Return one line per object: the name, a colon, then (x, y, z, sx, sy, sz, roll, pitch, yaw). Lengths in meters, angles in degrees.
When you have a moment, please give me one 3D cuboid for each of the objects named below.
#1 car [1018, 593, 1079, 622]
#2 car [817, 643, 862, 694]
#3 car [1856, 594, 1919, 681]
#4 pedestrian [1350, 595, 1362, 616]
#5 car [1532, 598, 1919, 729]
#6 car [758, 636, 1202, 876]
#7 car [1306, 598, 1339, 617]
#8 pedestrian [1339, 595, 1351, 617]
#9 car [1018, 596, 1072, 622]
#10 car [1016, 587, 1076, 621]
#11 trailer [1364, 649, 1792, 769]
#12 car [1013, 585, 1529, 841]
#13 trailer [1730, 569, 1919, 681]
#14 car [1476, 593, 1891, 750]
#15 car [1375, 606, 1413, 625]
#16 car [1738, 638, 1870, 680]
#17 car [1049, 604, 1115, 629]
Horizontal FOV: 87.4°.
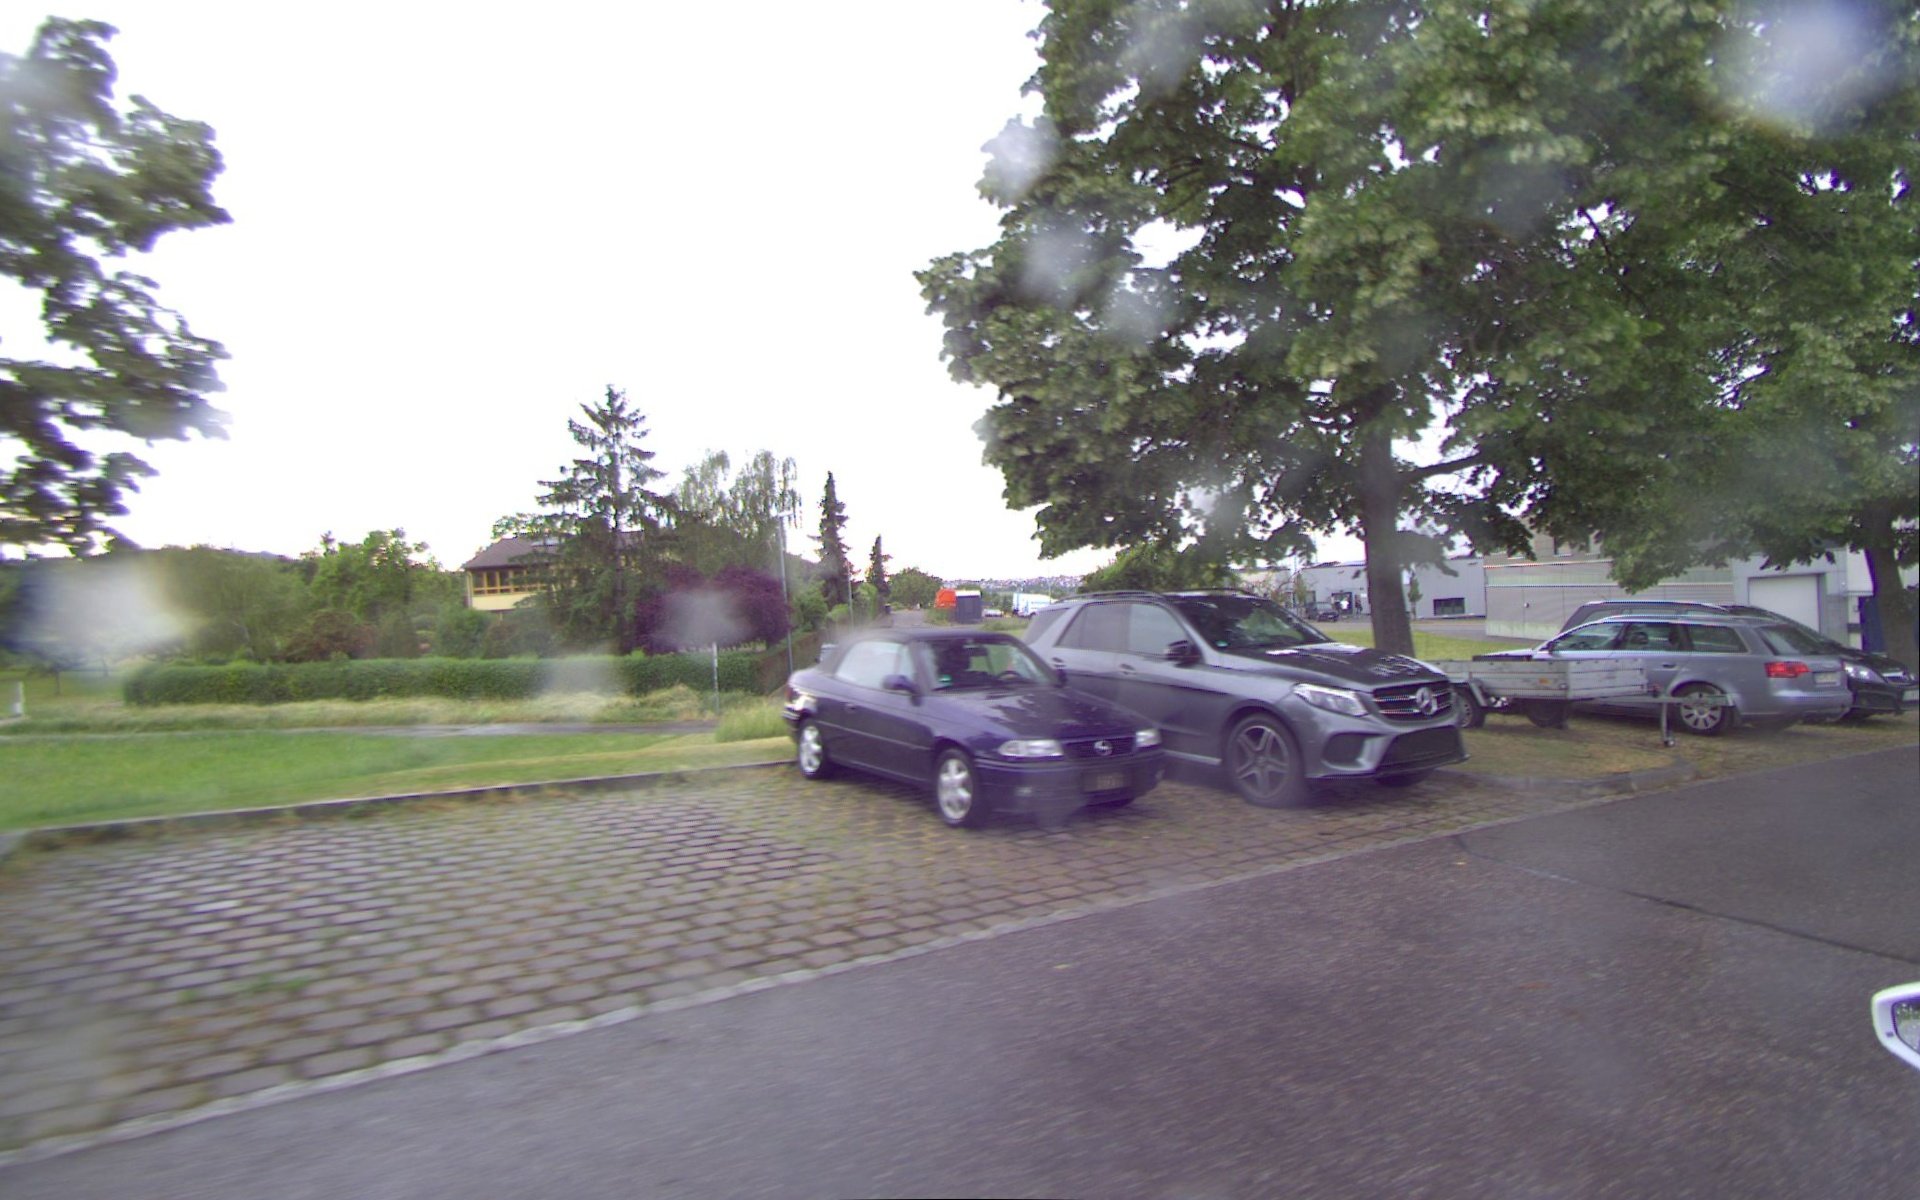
car: (8.716, 0.727, 98.935, 5.702, 2.738, 1.998, -1, 0, -6)
car: (-5.675, 3.233, 47.825, 1.893, 2.249, 4.501, -2, -3, -5)
car: (20.670, 0.723, 19.781, 1.734, 1.744, 4.178, 0, -2, -29)
pedestrian: (37.503, 0.522, 95.053, 0.847, 2.031, 0.660, -1, -1, 3)
car: (11.299, 0.789, 14.993, 1.782, 1.611, 4.602, 0, 0, -26)
car: (-0.102, 1.075, 8.650, 1.756, 1.450, 4.186, 0, -1, -34)
car: (33.840, 0.719, 93.924, 1.775, 1.639, 4.001, -1, -1, 2)
pedestrian: (36.493, 0.546, 95.267, 0.834, 2.040, 0.647, -1, -1, 5)
car: (8.838, 0.904, 104.781, 5.327, 2.603, 1.999, -1, -1, -5)
car: (9.167, 0.450, 107.454, 6.176, 3.474, 2.001, -1, -1, 1)
trailer: (7.132, 1.168, 12.018, 1.975, 0.974, 3.925, -1, 0, -28)
car: (2.518, 0.848, 9.288, 2.021, 1.744, 4.347, 0, -2, -30)
trailer: (17.752, 0.484, 19.416, 1.751, 2.010, 4.199, 0, -2, -26)
car: (9.375, 0.785, 13.419, 1.998, 1.745, 4.061, 0, 0, -25)
car: (40.311, 1.451, 93.374, 1.960, 1.639, 4.001, -1, -1, 2)
car: (32.063, 2.235, 38.214, 3.633, 1.466, 1.564, -1, -1, 1)
car: (10.246, 1.395, 84.545, 5.314, 2.000, 2.292, -1, -3, 1)
